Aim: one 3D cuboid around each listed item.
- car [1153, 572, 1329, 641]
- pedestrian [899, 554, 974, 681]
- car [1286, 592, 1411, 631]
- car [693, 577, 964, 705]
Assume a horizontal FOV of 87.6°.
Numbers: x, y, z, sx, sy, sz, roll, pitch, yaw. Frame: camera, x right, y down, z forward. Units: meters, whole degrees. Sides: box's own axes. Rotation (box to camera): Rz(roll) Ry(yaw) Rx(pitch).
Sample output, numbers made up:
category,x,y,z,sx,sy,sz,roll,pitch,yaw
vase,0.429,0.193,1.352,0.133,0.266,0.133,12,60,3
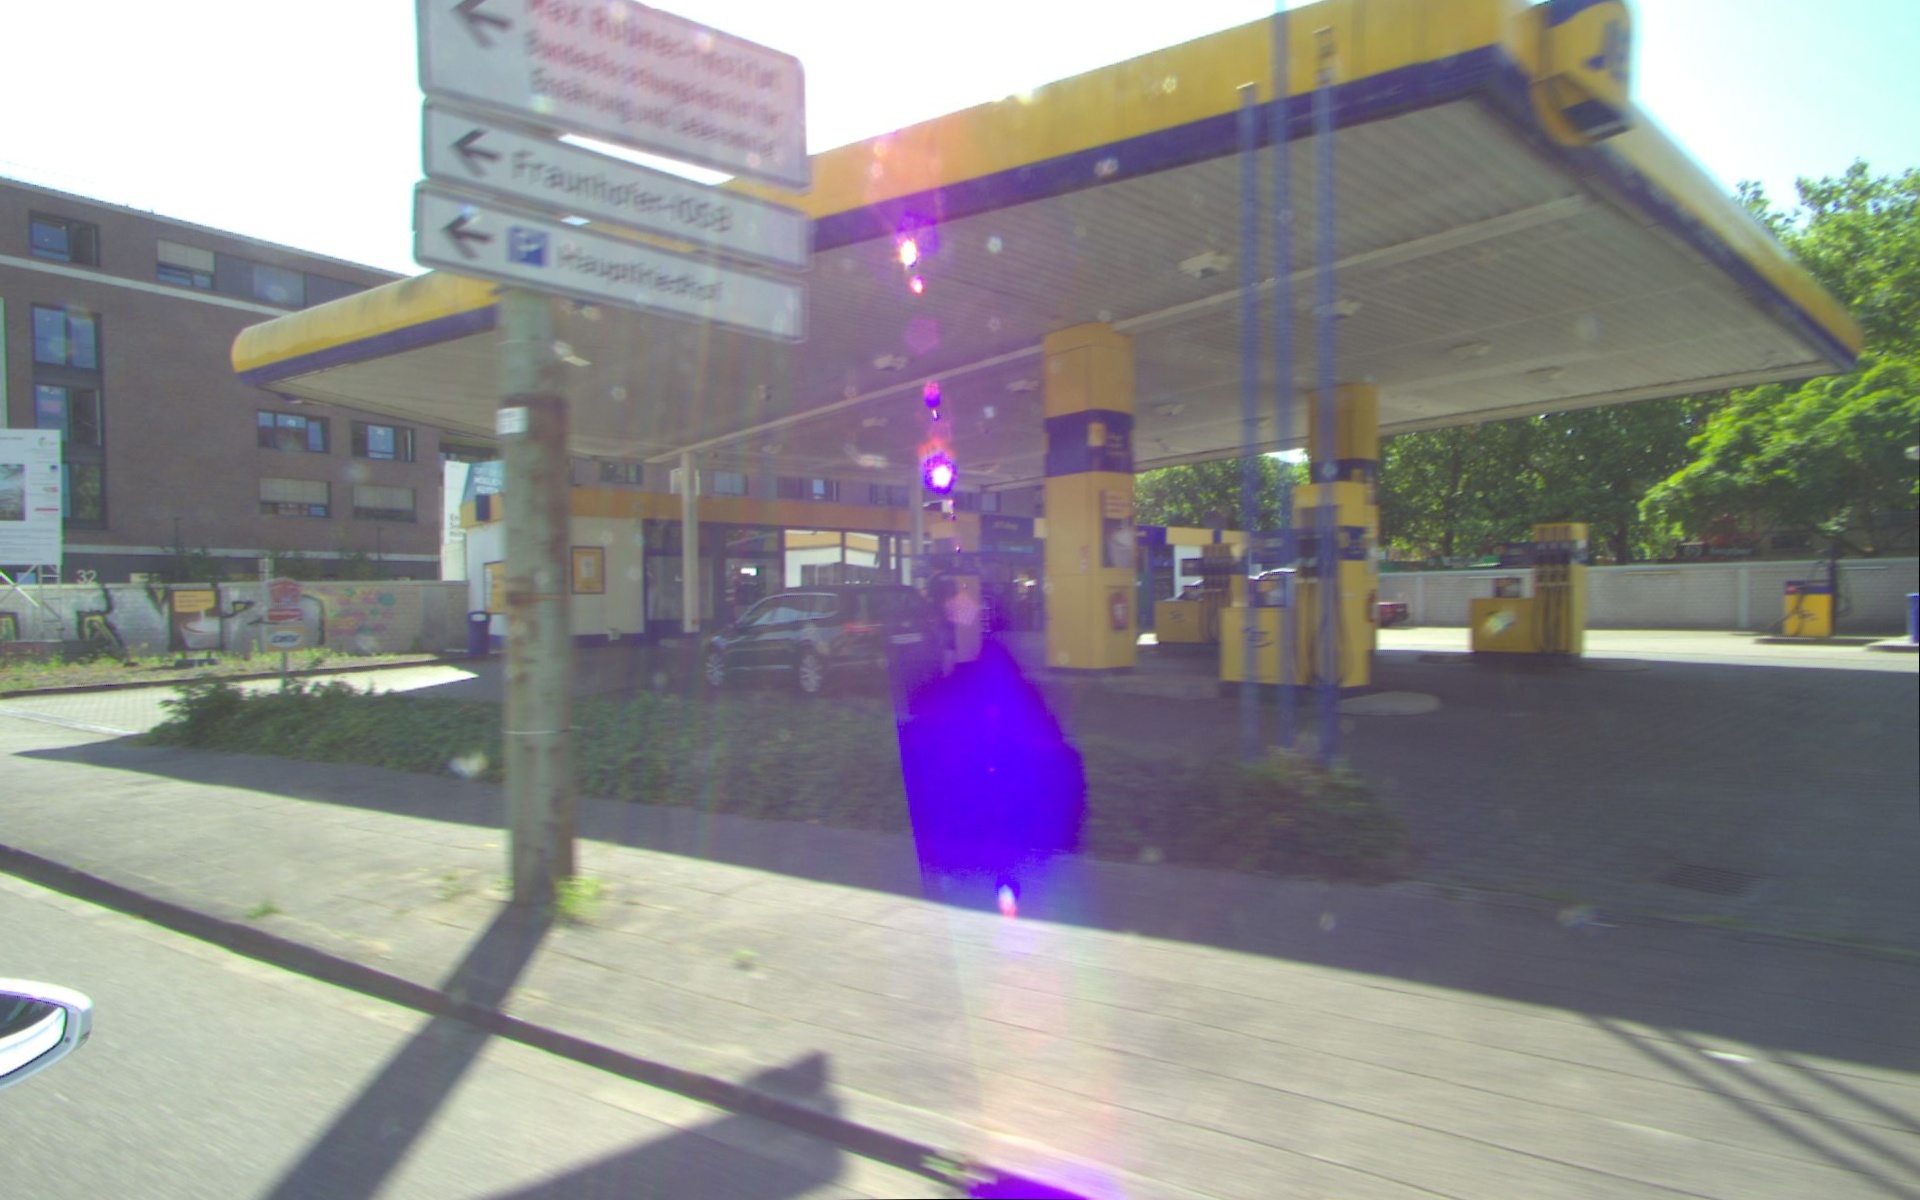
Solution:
category,x,y,z,sx,sy,sz,roll,pitch,yaw
car,8.795,0.193,31.782,1.743,2.009,5.256,-2,1,-43
pedestrian,-0.329,0.240,14.243,0.734,1.749,0.855,0,1,29
car,14.647,0.414,37.871,1.742,1.378,4.095,-1,1,-41
car,-2.038,0.531,14.414,1.741,1.475,4.373,-5,2,-40
